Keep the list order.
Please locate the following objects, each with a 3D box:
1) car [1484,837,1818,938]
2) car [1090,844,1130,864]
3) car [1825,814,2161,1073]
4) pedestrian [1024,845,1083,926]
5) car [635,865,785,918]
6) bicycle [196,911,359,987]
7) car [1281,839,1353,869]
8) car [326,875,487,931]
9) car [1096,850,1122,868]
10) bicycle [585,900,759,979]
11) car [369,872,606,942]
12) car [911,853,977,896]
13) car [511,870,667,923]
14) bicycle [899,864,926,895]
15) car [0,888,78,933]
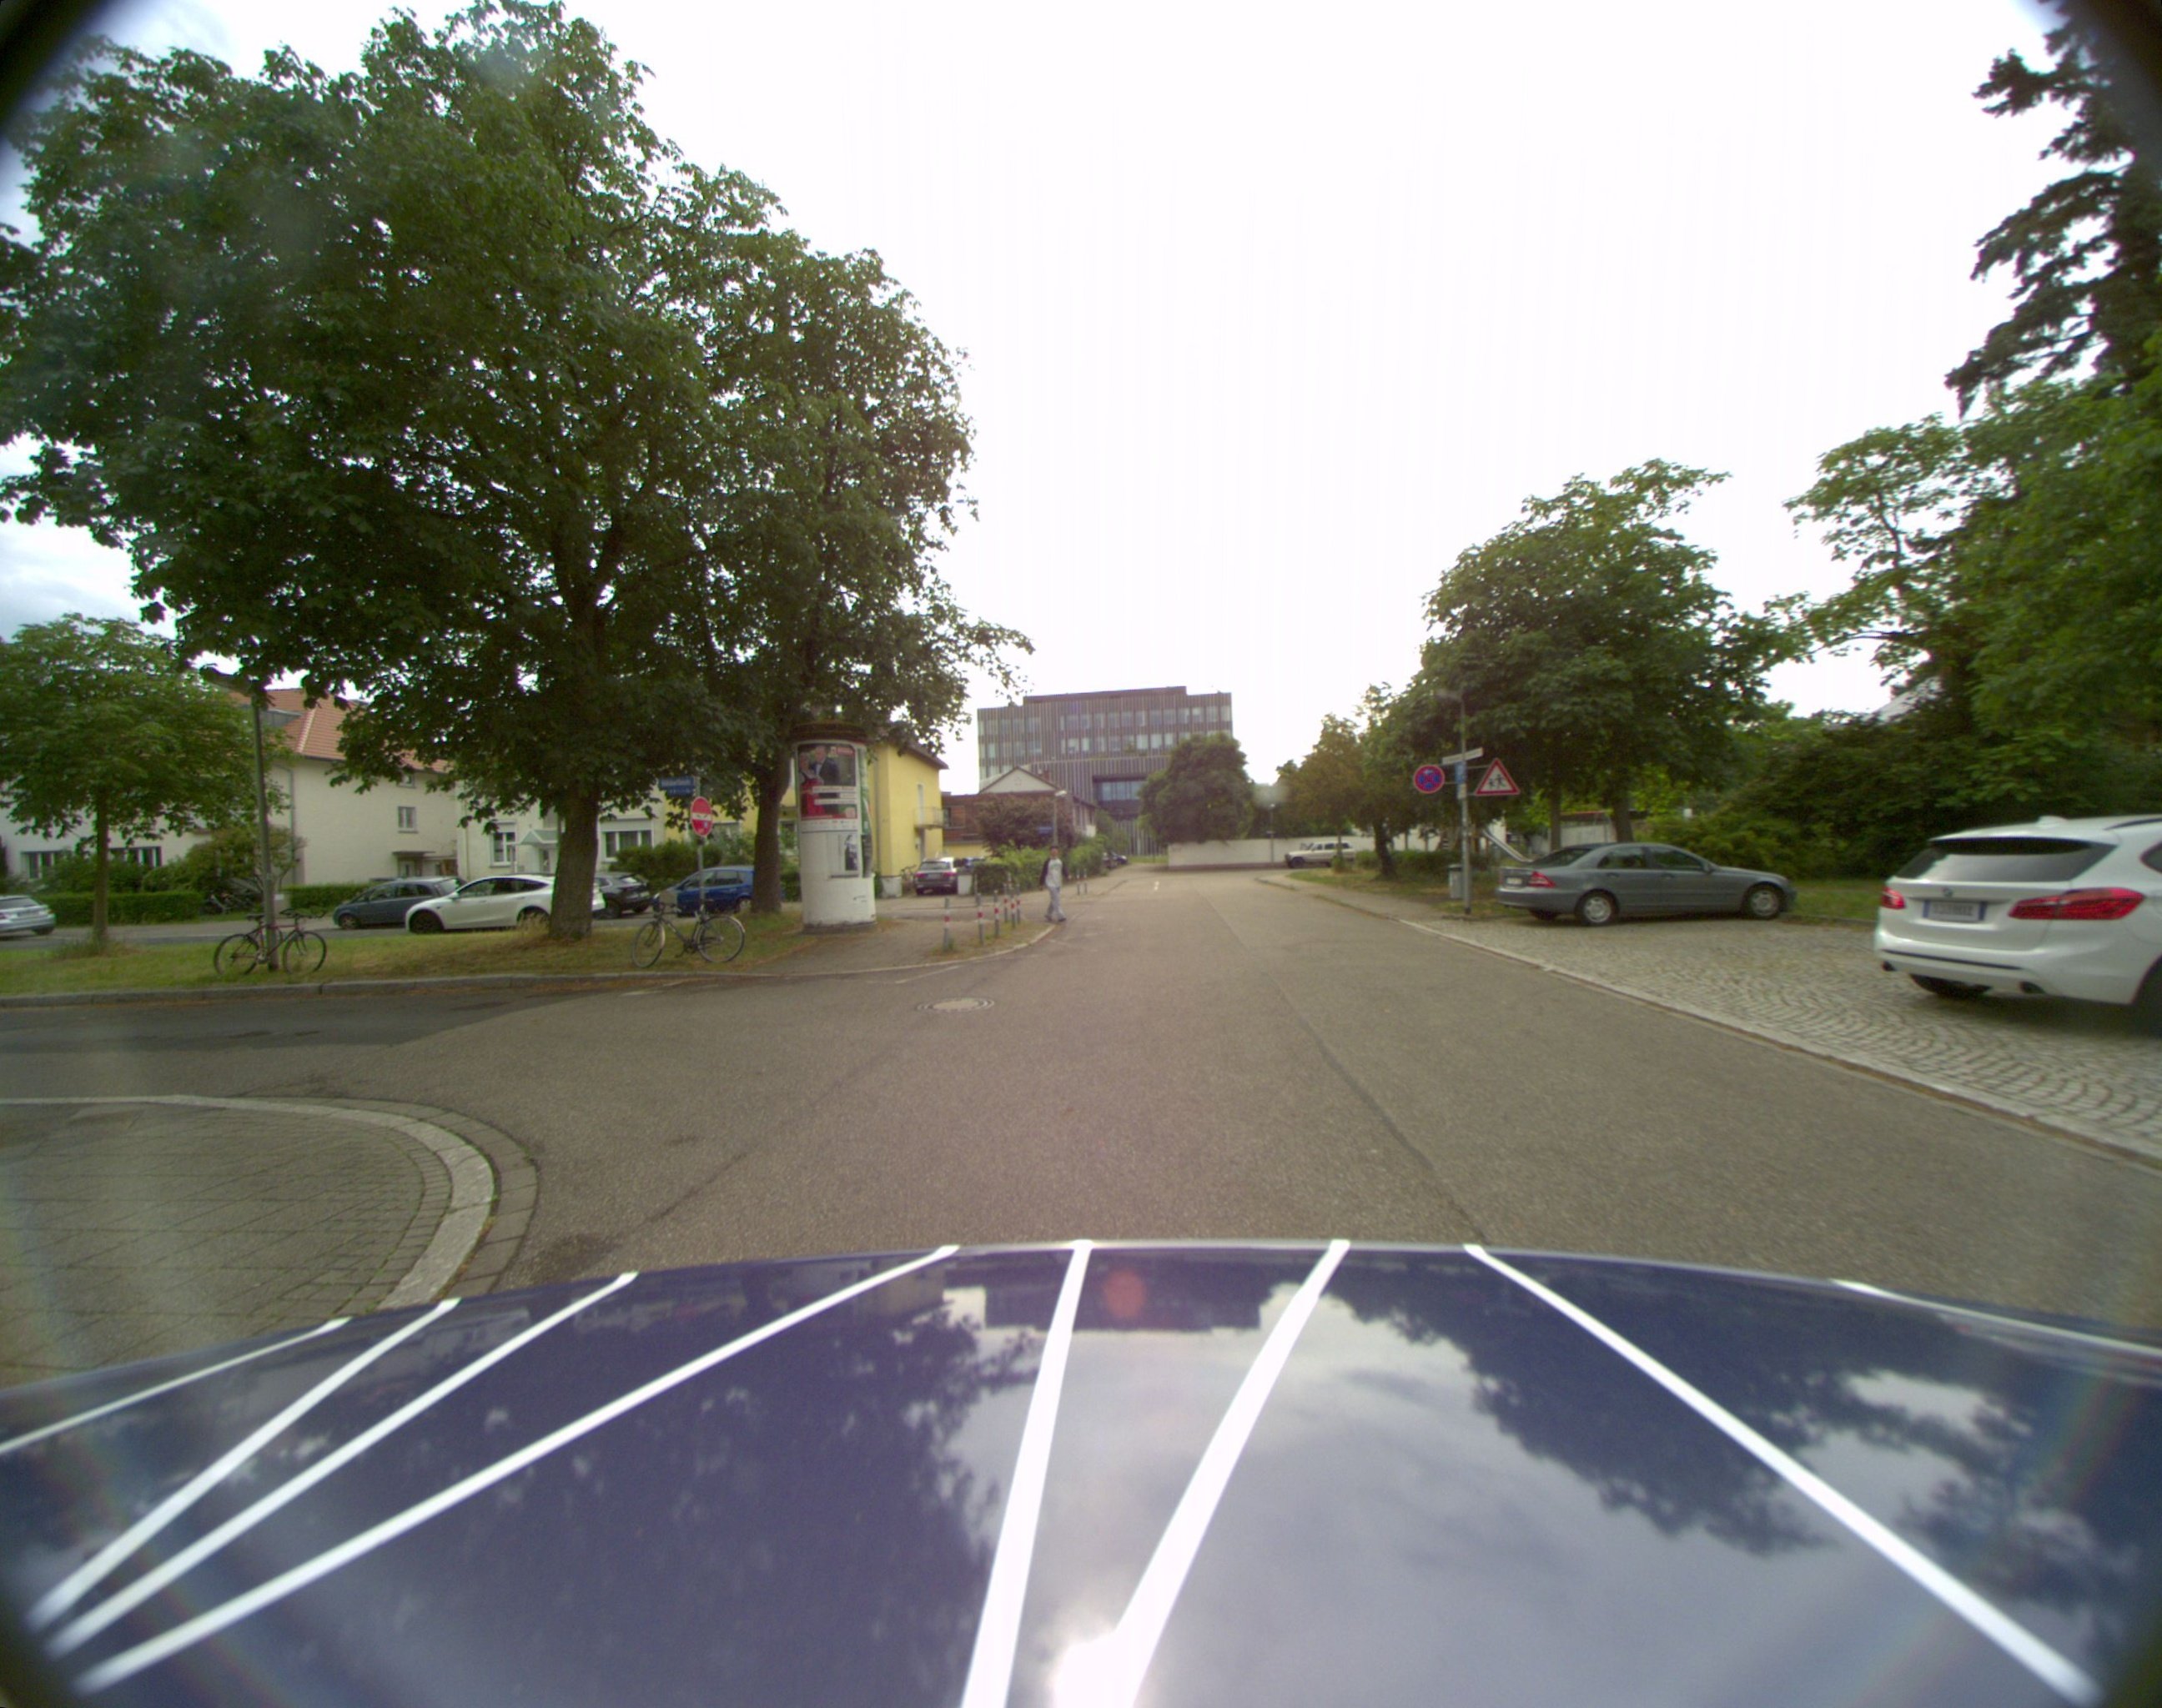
[{"bbox_3d":[9.900,0.552,13.455,4.556,1.446,1.680,-3,1,2],"label":"car"},{"bbox_3d":[3.144,-0.001,81.523,3.995,1.828,2.000,-2,3,8],"label":"car"},{"bbox_3d":[8.890,0.504,5.876,4.144,1.552,1.885,-5,2,6],"label":"car"},{"bbox_3d":[-0.671,0.725,17.991,0.880,1.825,1.216,-2,1,-30],"label":"pedestrian"},{"bbox_3d":[-12.507,1.248,25.768,4.205,1.558,1.705,-2,2,5],"label":"car"},{"bbox_3d":[-12.618,1.480,11.965,1.883,1.060,0.668,-2,1,3],"label":"bicycle"},{"bbox_3d":[16.725,-0.035,53.996,4.490,1.849,1.999,-2,3,3],"label":"car"},{"bbox_3d":[-23.108,1.664,26.140,3.882,1.593,1.718,-2,3,0],"label":"car"},{"bbox_3d":[2.653,0.426,70.922,1.997,1.390,4.000,-2,3,7],"label":"car"},{"bbox_3d":[-5.960,1.240,11.130,2.181,0.980,0.512,-3,3,-1],"label":"bicycle"},{"bbox_3d":[-15.906,1.392,20.557,4.880,1.557,1.903,-2,1,1],"label":"car"},{"bbox_3d":[-5.624,0.808,31.647,1.841,1.601,4.000,-2,0,2],"label":"car"},{"bbox_3d":[-16.806,1.431,26.087,4.163,1.492,1.719,-2,3,1],"label":"car"},{"bbox_3d":[-7.074,1.055,31.968,0.483,1.187,2.177,-2,0,3],"label":"bicycle"},{"bbox_3d":[-37.787,1.996,26.205,3.938,1.347,1.805,-2,2,1],"label":"car"}]
